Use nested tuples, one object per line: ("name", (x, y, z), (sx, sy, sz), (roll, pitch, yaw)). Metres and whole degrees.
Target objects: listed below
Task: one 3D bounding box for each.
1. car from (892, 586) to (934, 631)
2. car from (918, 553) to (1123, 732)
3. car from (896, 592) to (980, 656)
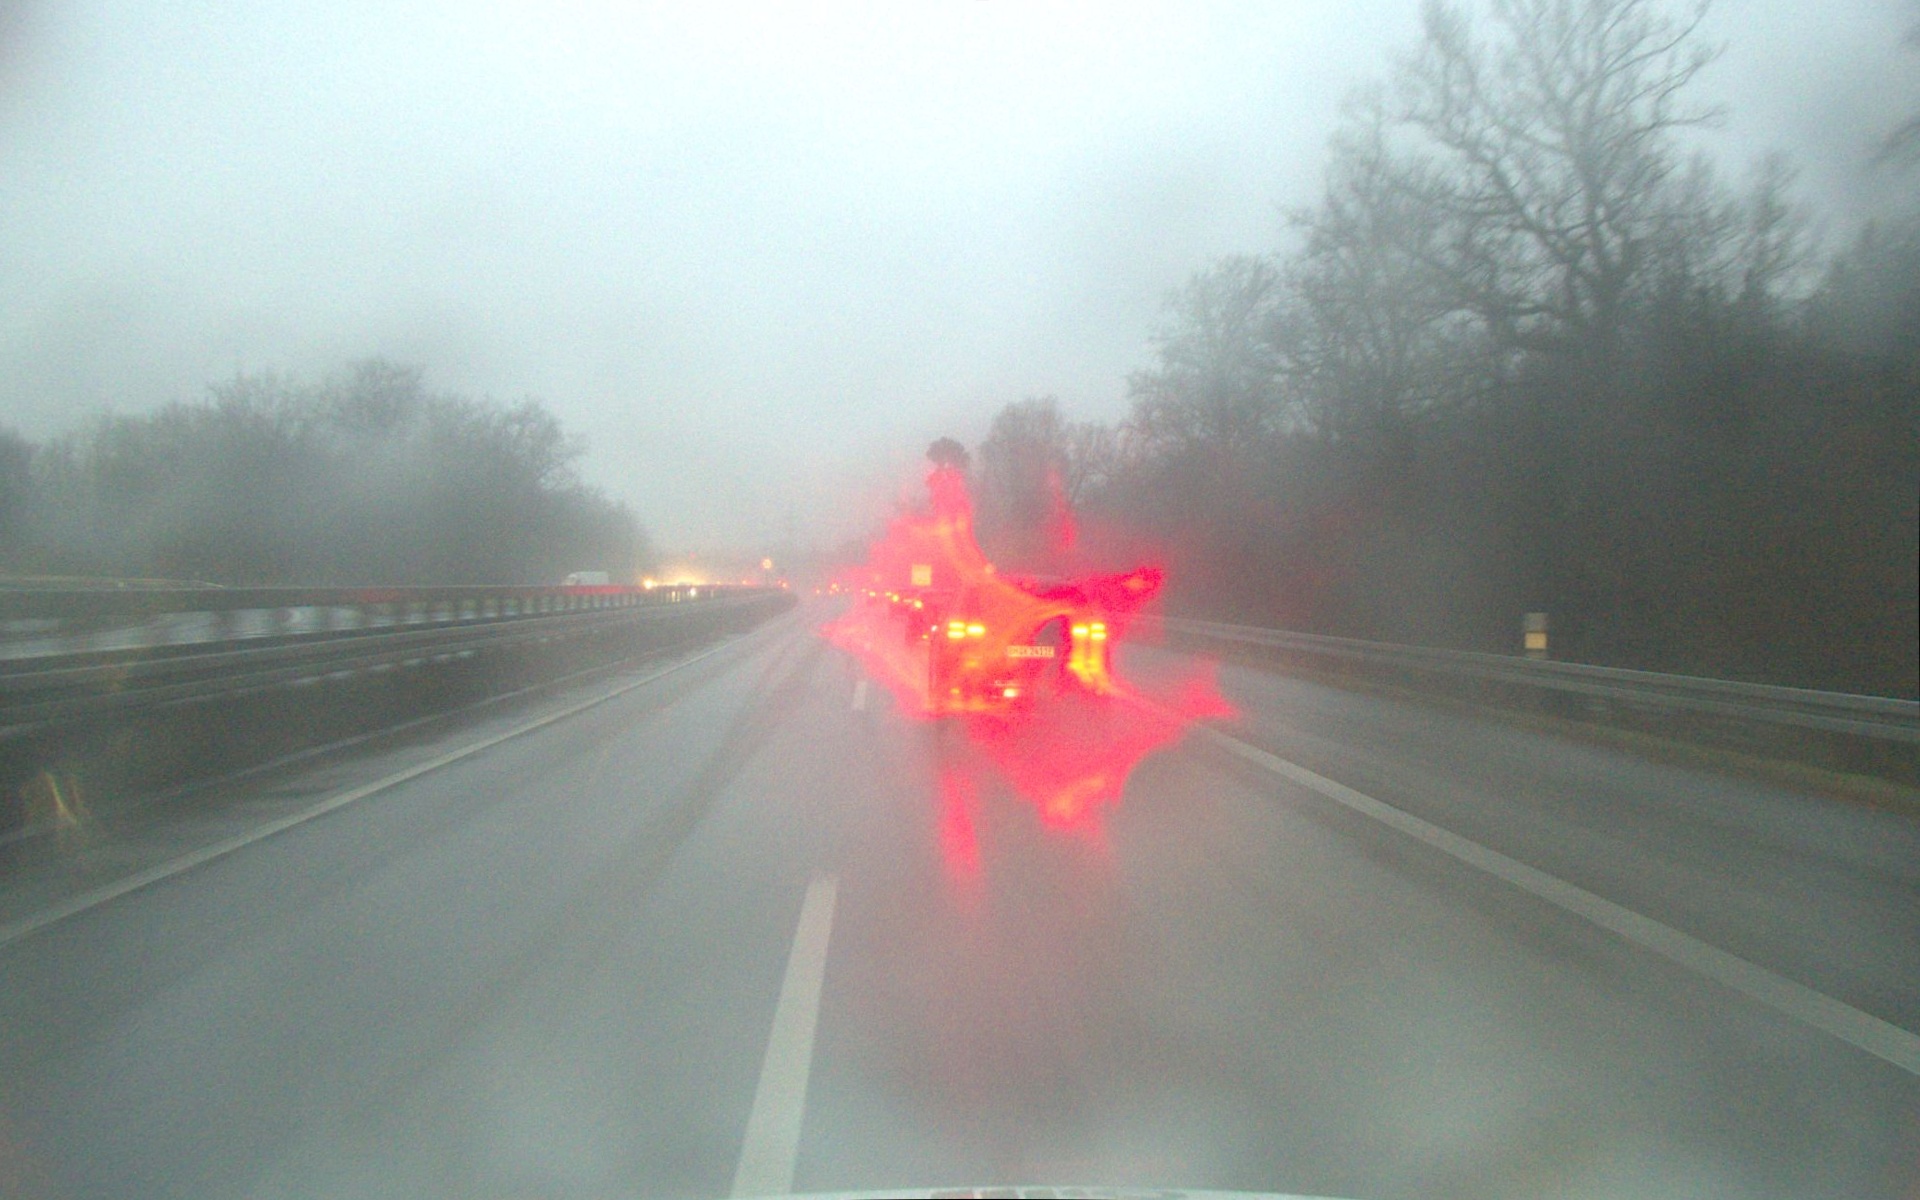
("car", (-2.252, 0.381, 78.301), (1.953, 2.049, 3.998), (1, 0, -2))
("car", (0.555, 0.420, 18.231), (1.952, 1.745, 3.828), (1, 0, -2))
("car", (-0.549, 0.572, 41.771), (1.953, 1.445, 3.999), (3, 0, -1))
